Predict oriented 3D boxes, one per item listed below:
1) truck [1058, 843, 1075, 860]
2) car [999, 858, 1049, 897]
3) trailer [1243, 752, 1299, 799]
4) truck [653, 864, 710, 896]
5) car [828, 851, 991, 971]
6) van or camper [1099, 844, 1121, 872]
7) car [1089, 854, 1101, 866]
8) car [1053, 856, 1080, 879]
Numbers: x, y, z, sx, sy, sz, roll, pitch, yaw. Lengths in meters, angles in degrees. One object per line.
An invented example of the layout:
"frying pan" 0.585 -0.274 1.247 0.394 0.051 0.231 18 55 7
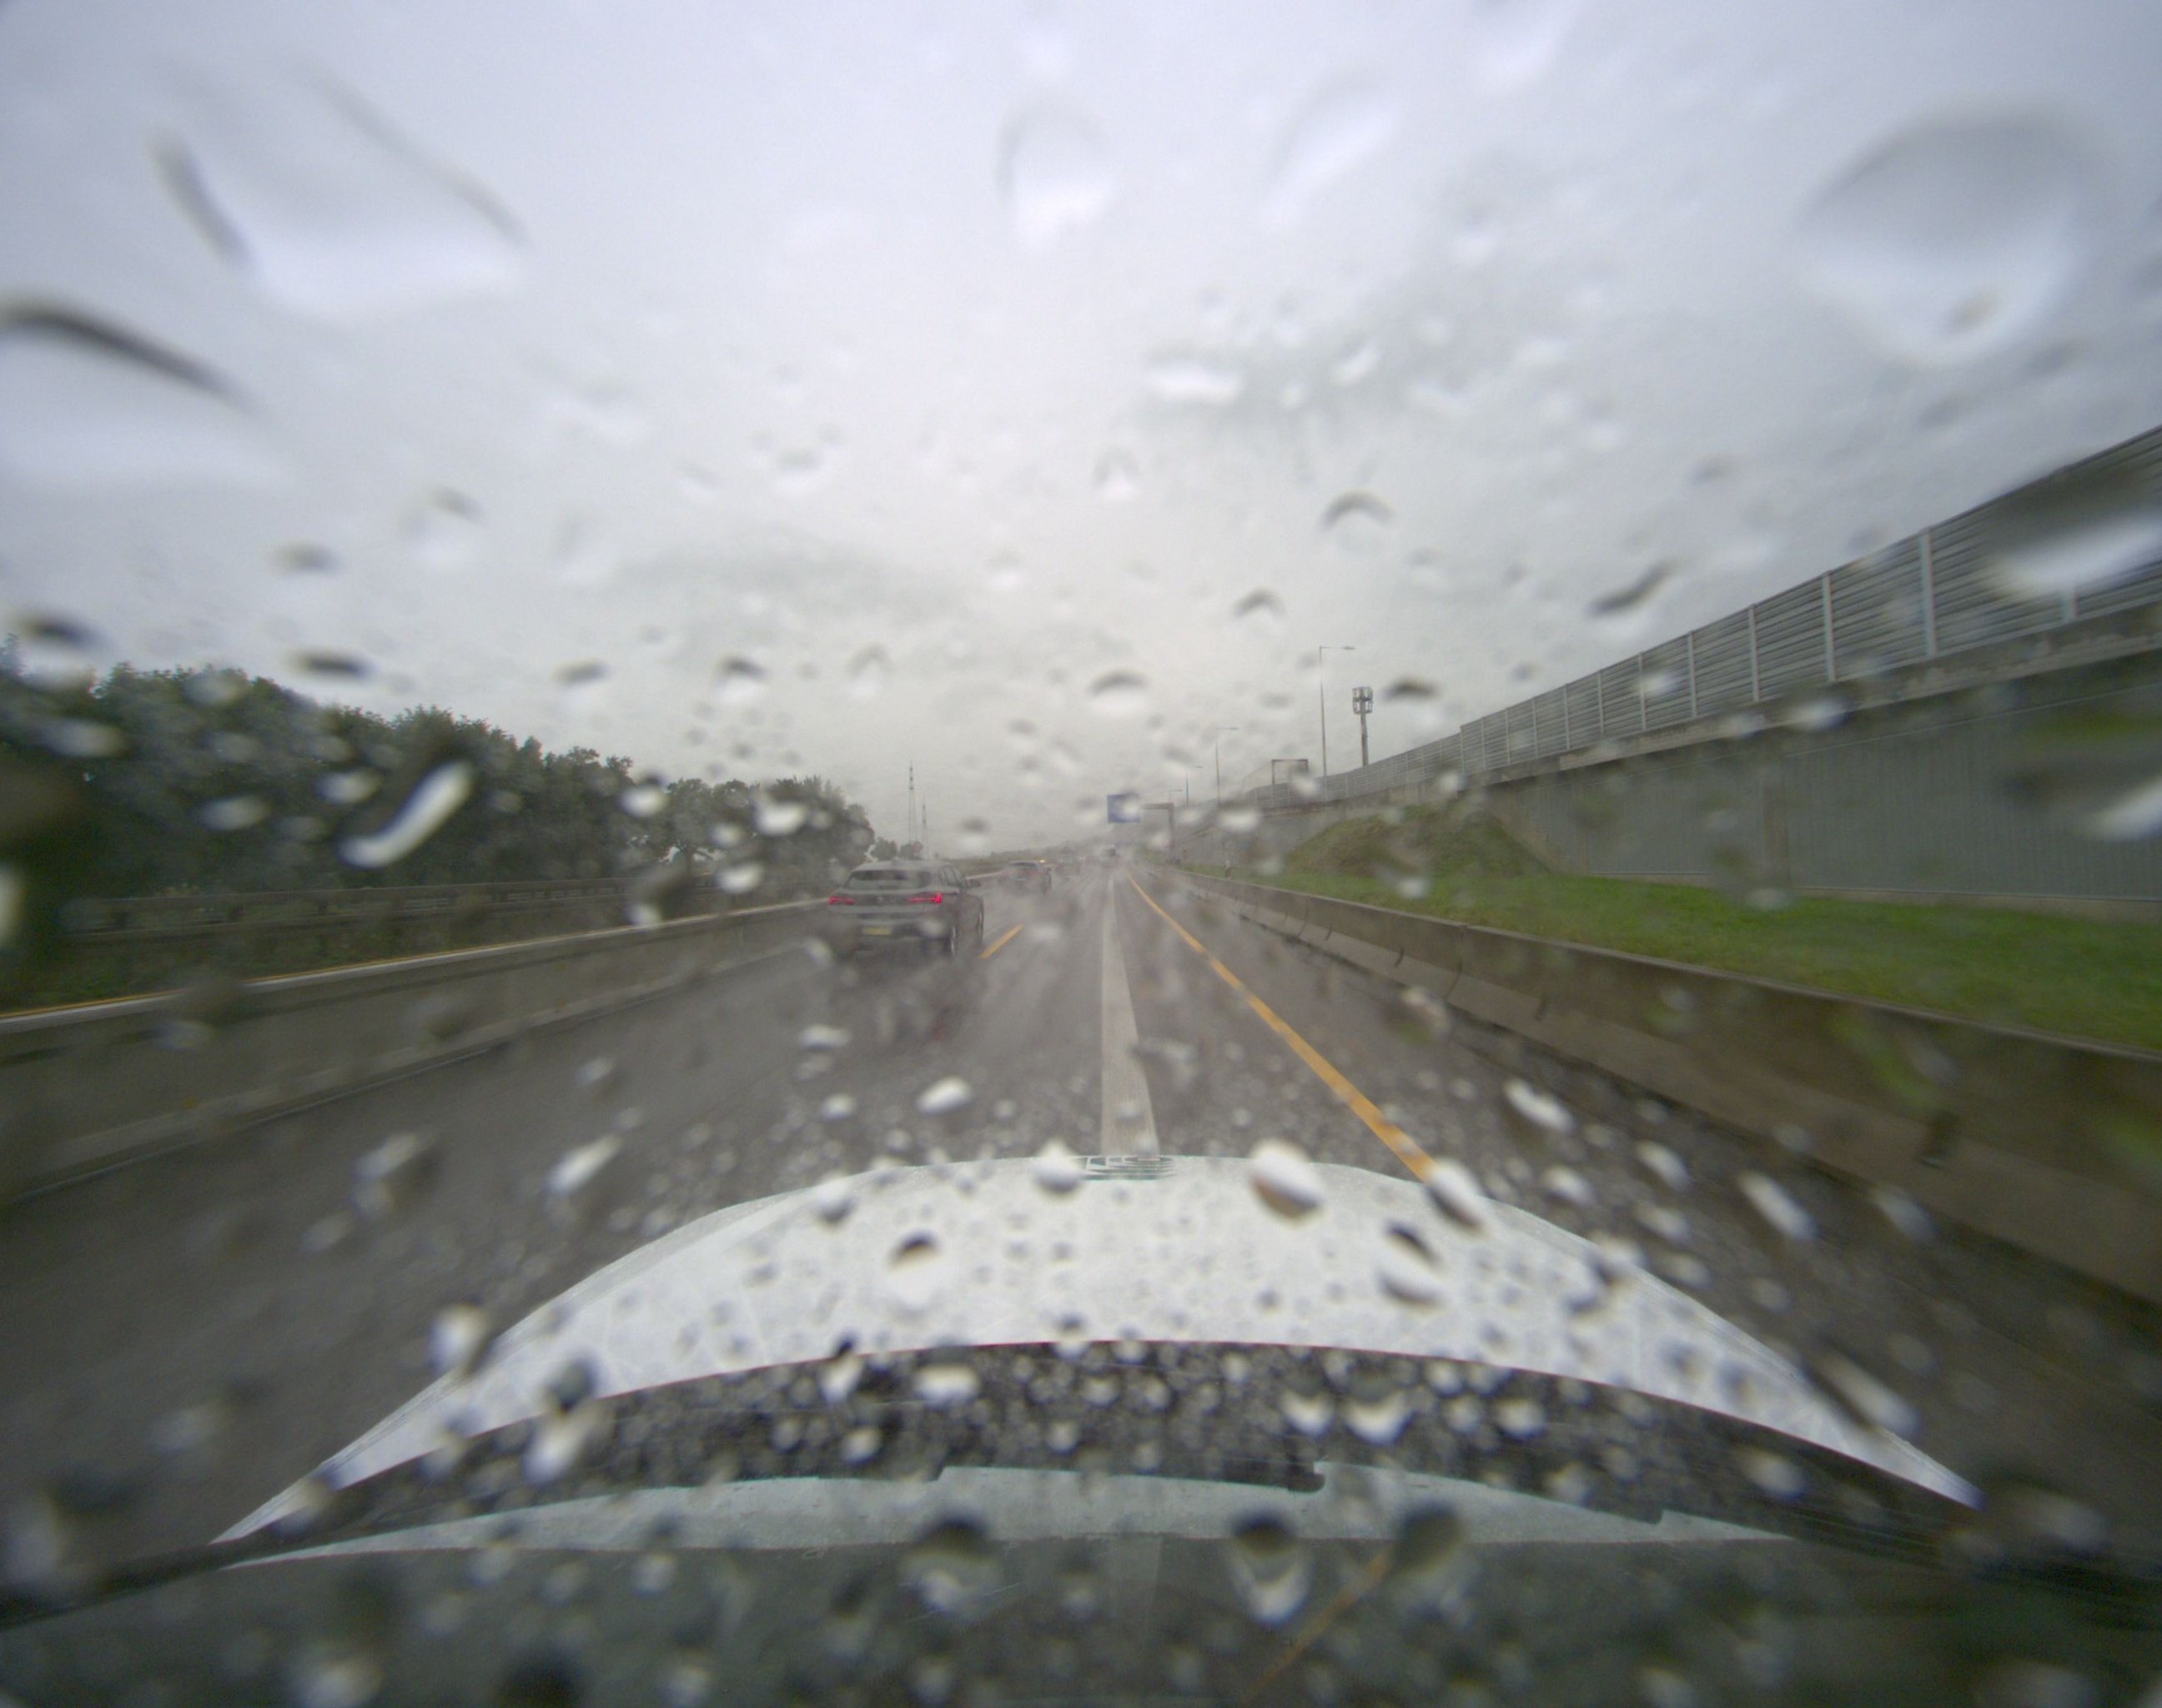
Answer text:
"truck" -2.828 -0.523 163.708 2.628 3.347 9.560 -1 0 3
"car" -2.329 0.970 34.304 1.839 1.491 4.259 -1 -1 -1
"trailer" 15.004 -6.123 65.413 1.985 2.106 13.777 -1 -1 3
"truck" -41.334 2.670 84.390 2.600 3.213 5.876 -1 -1 5
"car" -2.592 0.828 13.481 1.696 1.598 4.843 -1 -1 -1
"van or camper" 2.900 0.417 82.952 1.990 2.777 4.048 -1 -1 -1
"car" 1.995 0.834 116.570 1.562 1.480 2.819 -4 -2 -2
"car" -1.029 0.985 59.659 1.839 1.491 4.260 -4 0 -1
